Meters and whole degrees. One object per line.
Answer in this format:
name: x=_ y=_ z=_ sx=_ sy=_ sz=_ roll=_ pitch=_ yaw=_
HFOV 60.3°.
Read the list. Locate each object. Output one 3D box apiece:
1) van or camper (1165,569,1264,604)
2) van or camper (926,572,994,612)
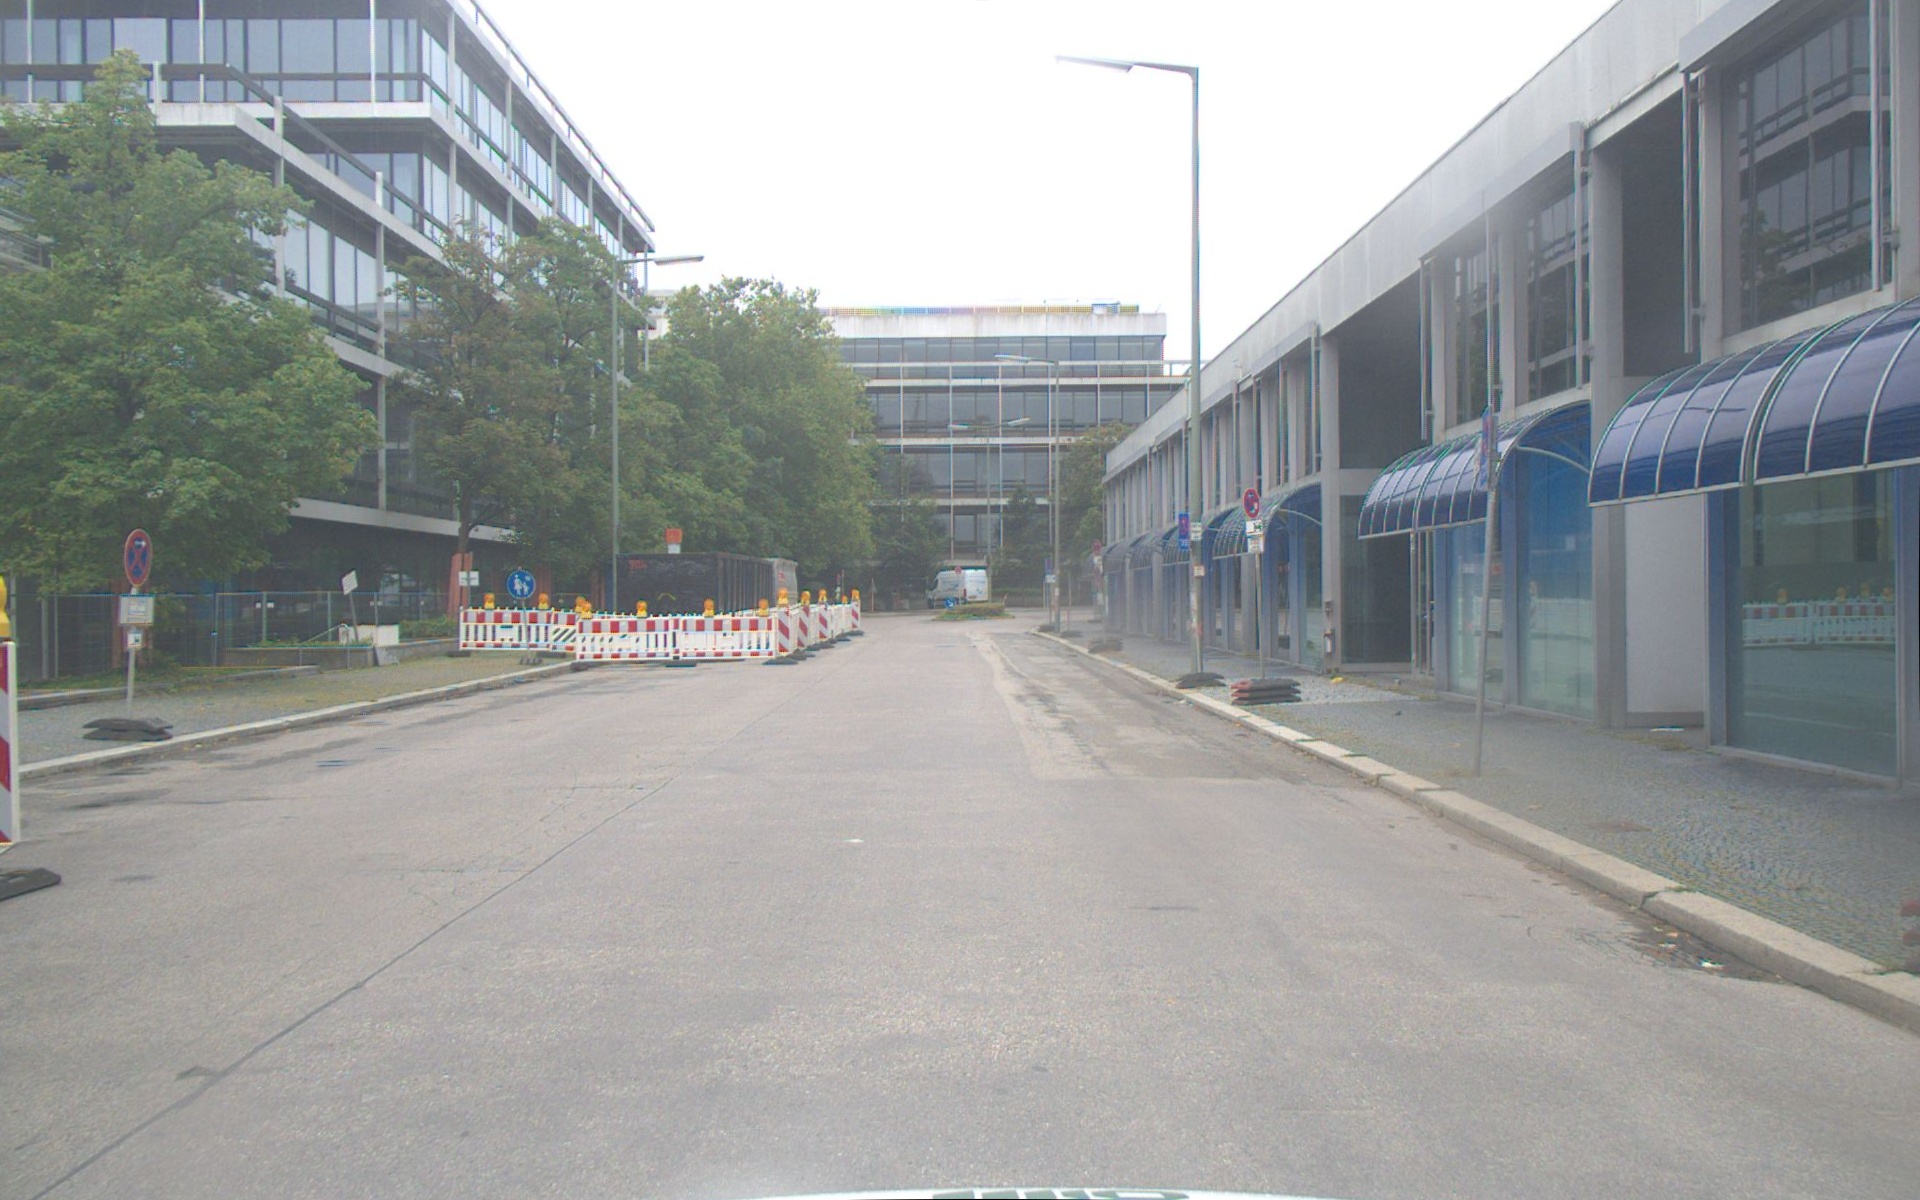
van or camper: x=17.255 y=-0.937 z=112.365 sx=6.290 sy=2.321 sz=2.246 roll=-1 pitch=0 yaw=-15
van or camper: x=-0.046 y=-0.533 z=115.147 sx=2.129 sy=2.626 sz=6.484 roll=0 pitch=-1 yaw=-26
